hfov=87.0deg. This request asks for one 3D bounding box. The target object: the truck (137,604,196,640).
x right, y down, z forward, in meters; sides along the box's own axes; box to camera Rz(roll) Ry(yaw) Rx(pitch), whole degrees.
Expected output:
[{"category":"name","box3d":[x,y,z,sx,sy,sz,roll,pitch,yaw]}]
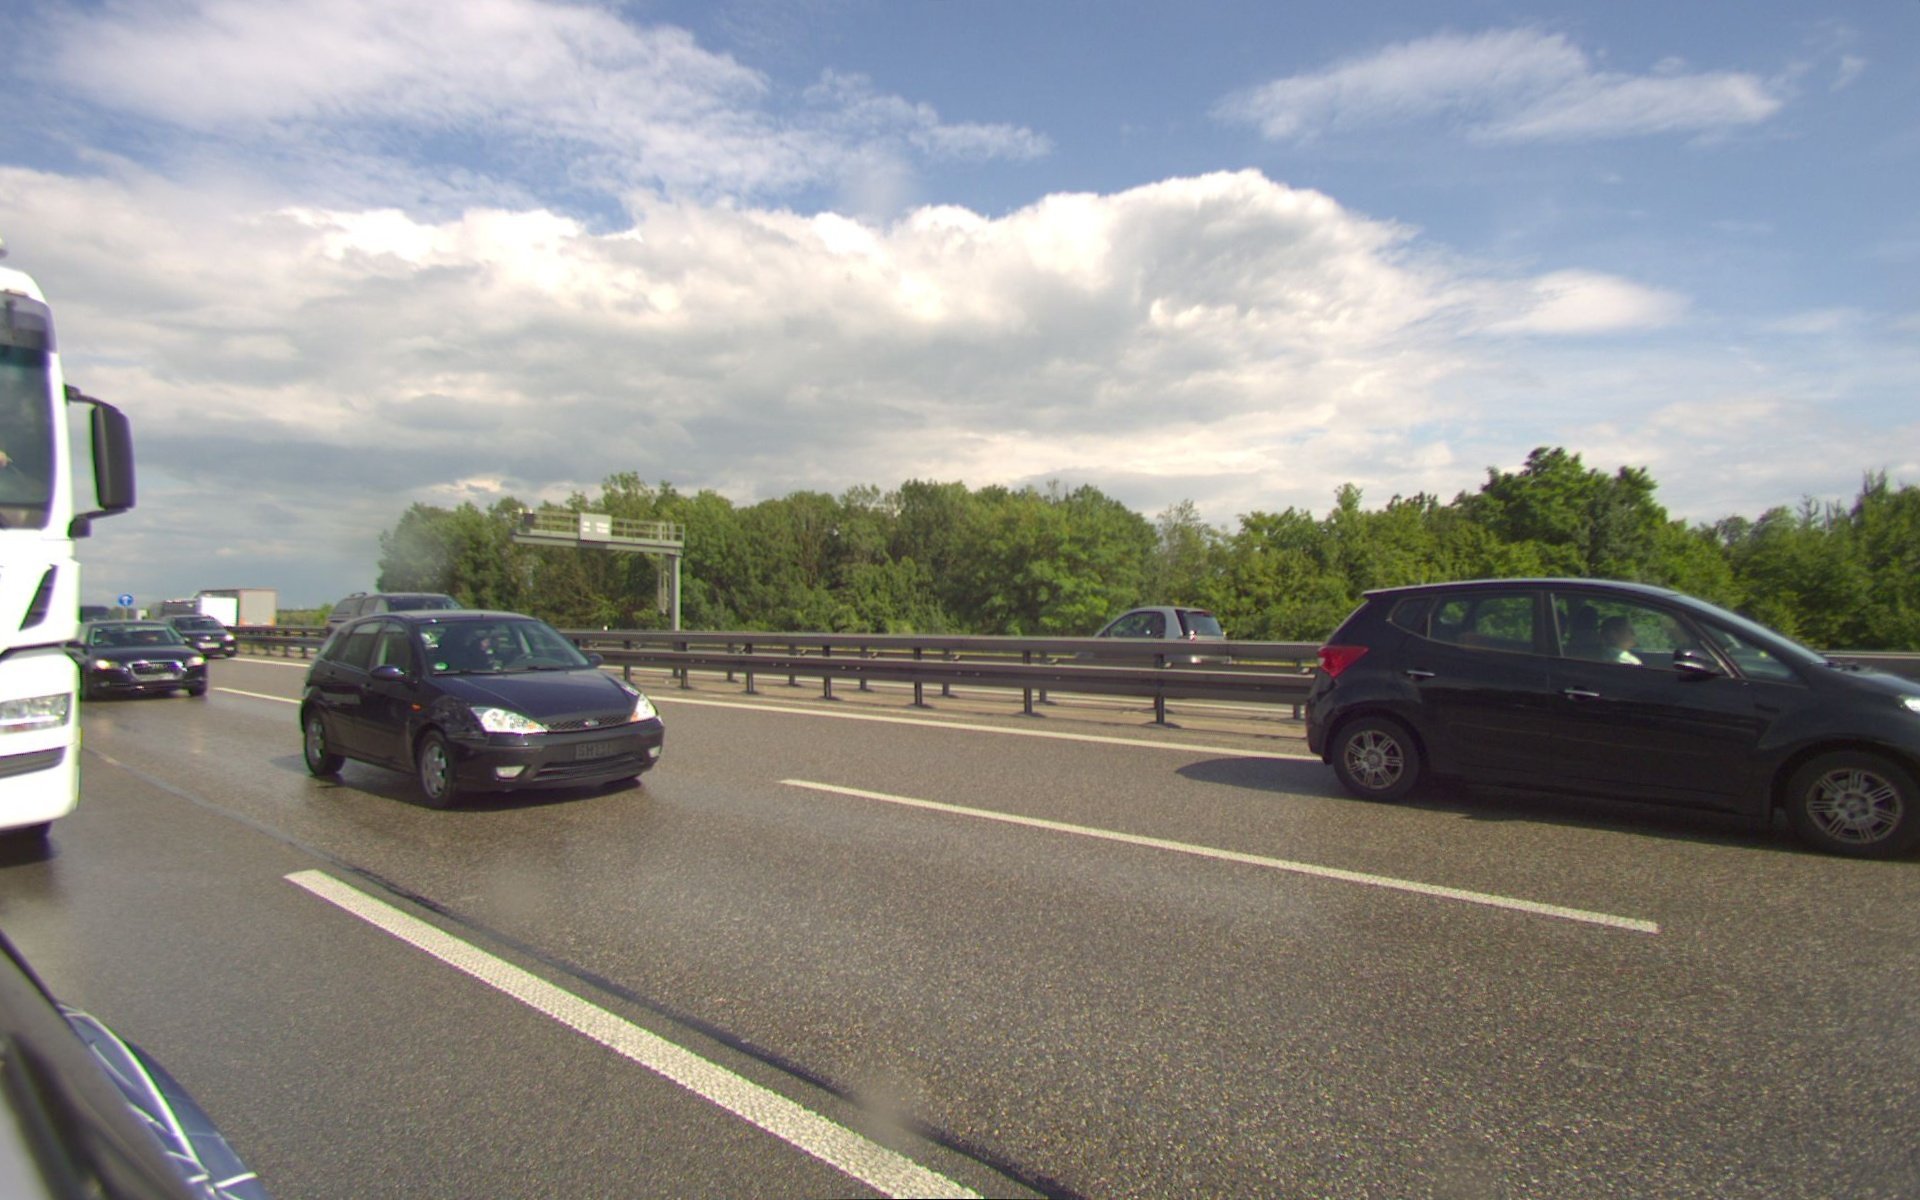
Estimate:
[{"category":"truck","box3d":[-54.850,1.519,69.850,8.918,2.295,1.897,-1,-1,43]}]

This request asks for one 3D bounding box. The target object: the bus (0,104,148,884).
[{"category":"bus","box3d":[-9.356,-0.486,7.985,9.839,4.159,2.867,-1,0,41]}]

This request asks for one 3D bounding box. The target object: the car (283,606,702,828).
[{"category":"car","box3d":[-4.133,0.806,8.663,3.997,1.454,1.741,-1,-1,40]}]

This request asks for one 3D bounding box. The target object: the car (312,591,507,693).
[{"category":"car","box3d":[-11.441,0.806,20.839,5.415,1.858,1.788,-1,-1,41]}]

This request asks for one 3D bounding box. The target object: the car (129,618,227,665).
[{"category":"car","box3d":[-26.114,1.328,33.743,4.372,1.435,1.899,-1,-1,43]}]

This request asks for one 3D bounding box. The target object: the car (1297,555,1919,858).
[{"category":"car","box3d":[4.559,0.580,6.906,3.913,1.590,1.765,-1,-1,40]}]

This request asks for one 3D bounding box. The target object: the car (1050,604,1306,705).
[{"category":"car","box3d":[3.665,0.865,17.405,3.998,1.529,1.685,-1,-1,41]}]

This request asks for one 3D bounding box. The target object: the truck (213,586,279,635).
[{"category":"truck","box3d":[-59.340,0.905,84.047,8.918,3.913,2.762,-1,-1,43]}]

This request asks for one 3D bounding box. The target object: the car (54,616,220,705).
[{"category":"car","box3d":[-15.284,1.041,18.724,4.052,1.444,1.732,-1,-1,41]}]
